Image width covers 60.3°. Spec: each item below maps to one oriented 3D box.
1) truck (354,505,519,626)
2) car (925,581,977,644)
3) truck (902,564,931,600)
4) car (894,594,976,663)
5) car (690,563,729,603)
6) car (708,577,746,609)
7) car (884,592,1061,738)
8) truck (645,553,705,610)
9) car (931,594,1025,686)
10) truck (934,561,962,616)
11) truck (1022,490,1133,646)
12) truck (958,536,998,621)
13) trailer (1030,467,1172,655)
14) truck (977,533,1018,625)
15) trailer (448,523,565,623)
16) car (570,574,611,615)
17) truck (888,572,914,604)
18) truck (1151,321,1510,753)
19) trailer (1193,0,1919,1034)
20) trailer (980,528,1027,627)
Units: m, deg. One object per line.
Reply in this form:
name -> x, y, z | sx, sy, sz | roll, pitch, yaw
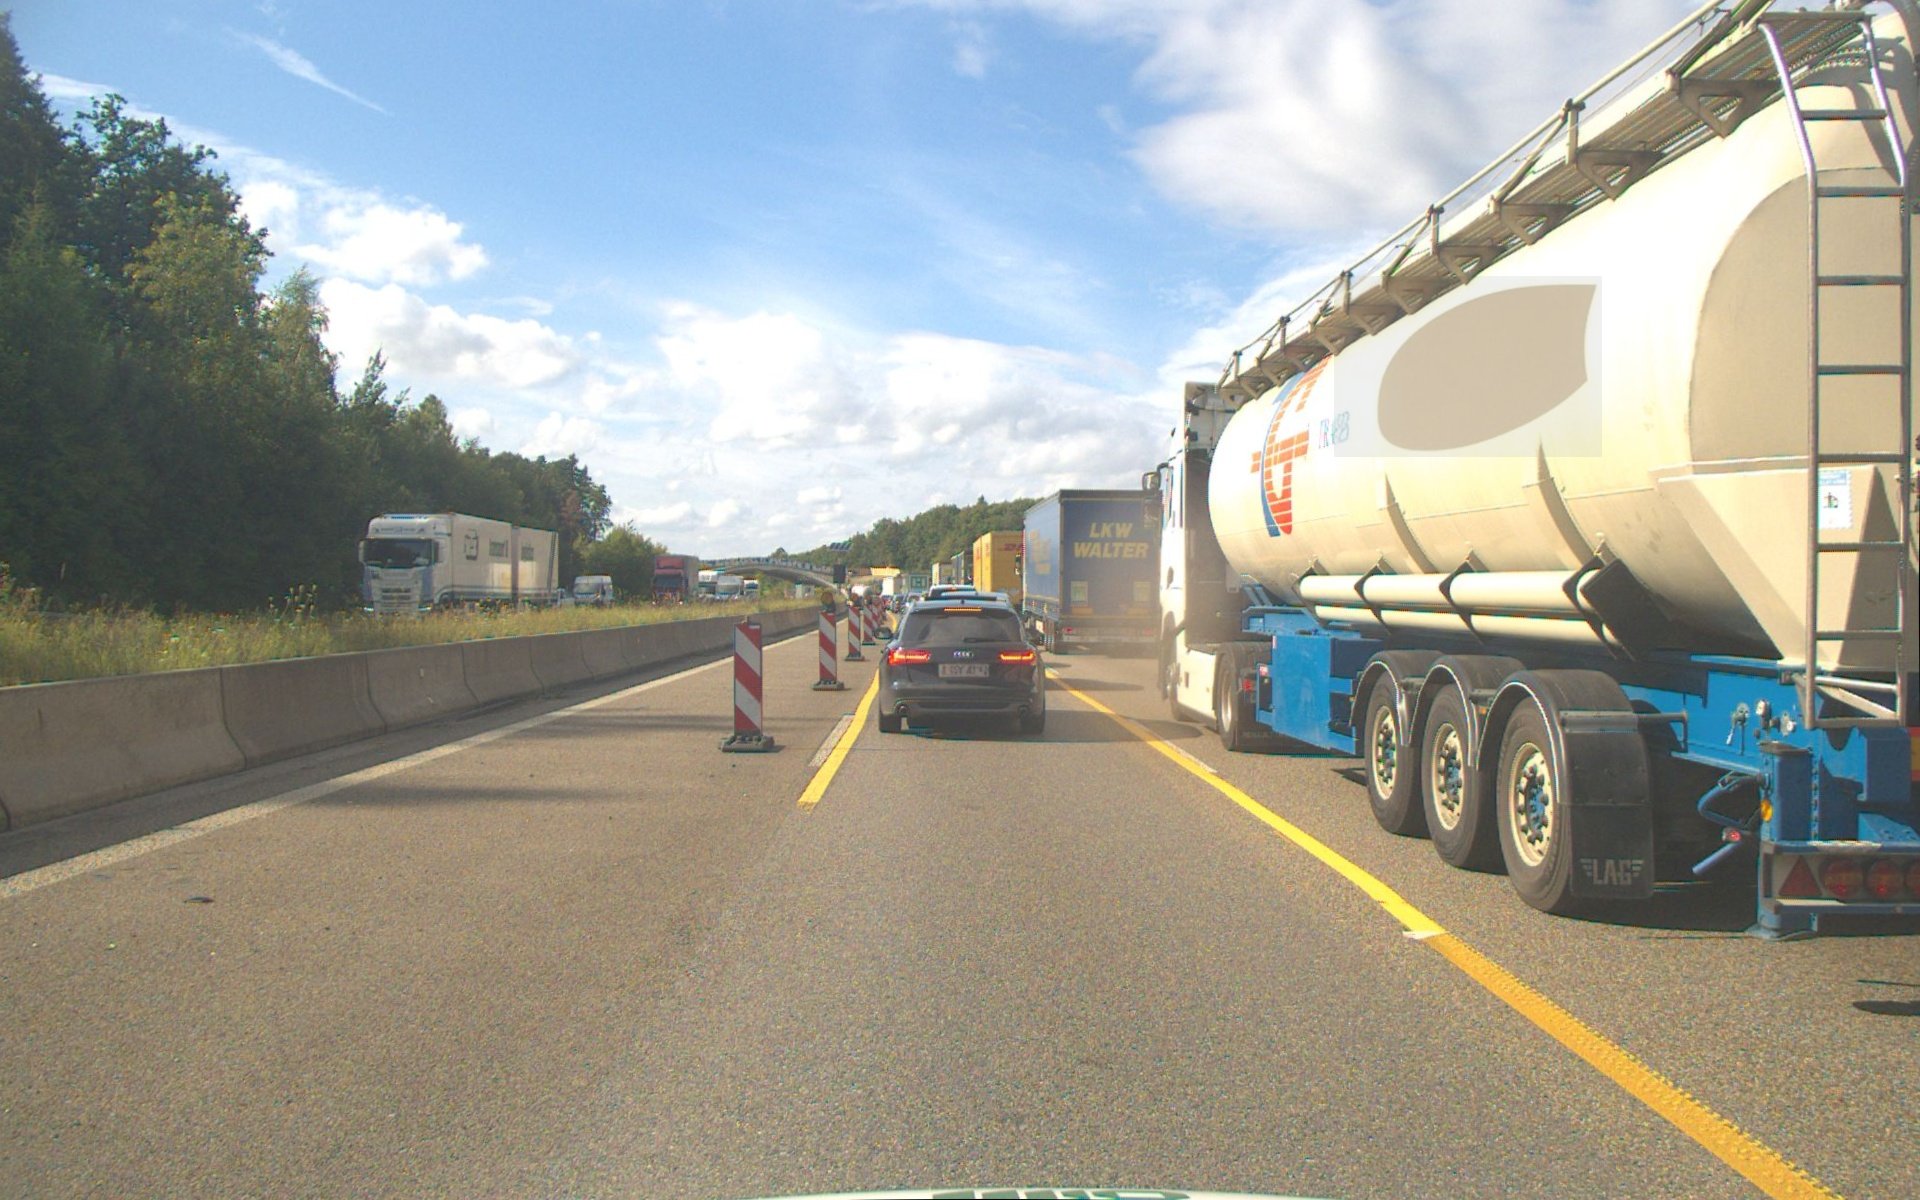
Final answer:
truck -> -19.067, -1.134, 61.093 | 2.726, 4.055, 10.859 | 1, 0, -1
car -> -0.303, 0.391, 51.641 | 1.549, 1.869, 3.111 | 1, 0, -1
truck -> -5.226, -2.117, 197.975 | 3.238, 4.248, 9.697 | 0, 0, -3
car -> -0.548, 0.615, 36.787 | 1.716, 1.421, 3.607 | 1, 0, -1
car -> -22.739, -1.490, 150.473 | 2.436, 3.429, 7.450 | 1, 0, -1
car -> -18.447, -0.550, 131.299 | 2.116, 2.494, 6.330 | 1, 0, -1
car -> 0.102, 0.676, 19.000 | 1.811, 1.489, 3.999 | 0, 0, -1
truck -> -21.120, -1.336, 123.086 | 2.743, 4.062, 10.184 | 1, 0, -1
car -> 0.271, 0.654, 28.284 | 1.493, 1.464, 3.284 | 1, 0, -1
truck -> -0.999, -0.881, 134.782 | 2.094, 4.332, 7.069 | 1, 0, -1
truck -> 3.538, -0.899, 51.610 | 2.749, 4.446, 7.790 | 1, 0, -1
truck -> 1.053, -1.246, 102.253 | 1.953, 5.000, 9.557 | 1, 0, -2
trailer -> 3.621, -0.918, 45.088 | 2.748, 4.490, 10.430 | 1, 0, -1
truck -> 1.668, -0.910, 74.263 | 1.577, 3.965, 4.071 | 1, 0, -2
trailer -> -19.267, -1.070, 70.812 | 2.734, 3.992, 8.486 | 1, 0, -1
car -> -24.860, -0.353, 111.365 | 2.208, 2.689, 5.010 | 1, 0, -8
truck -> -8.193, -1.622, 228.156 | 3.239, 4.248, 9.695 | 1, 0, -4
truck -> 3.850, -0.578, 18.538 | 2.605, 4.041, 5.777 | 1, 0, -1
trailer -> 3.946, -0.591, 11.686 | 2.590, 4.012, 12.595 | 1, 0, -1
trailer -> 1.785, -0.901, 70.152 | 1.584, 3.987, 6.487 | 1, 0, -2
